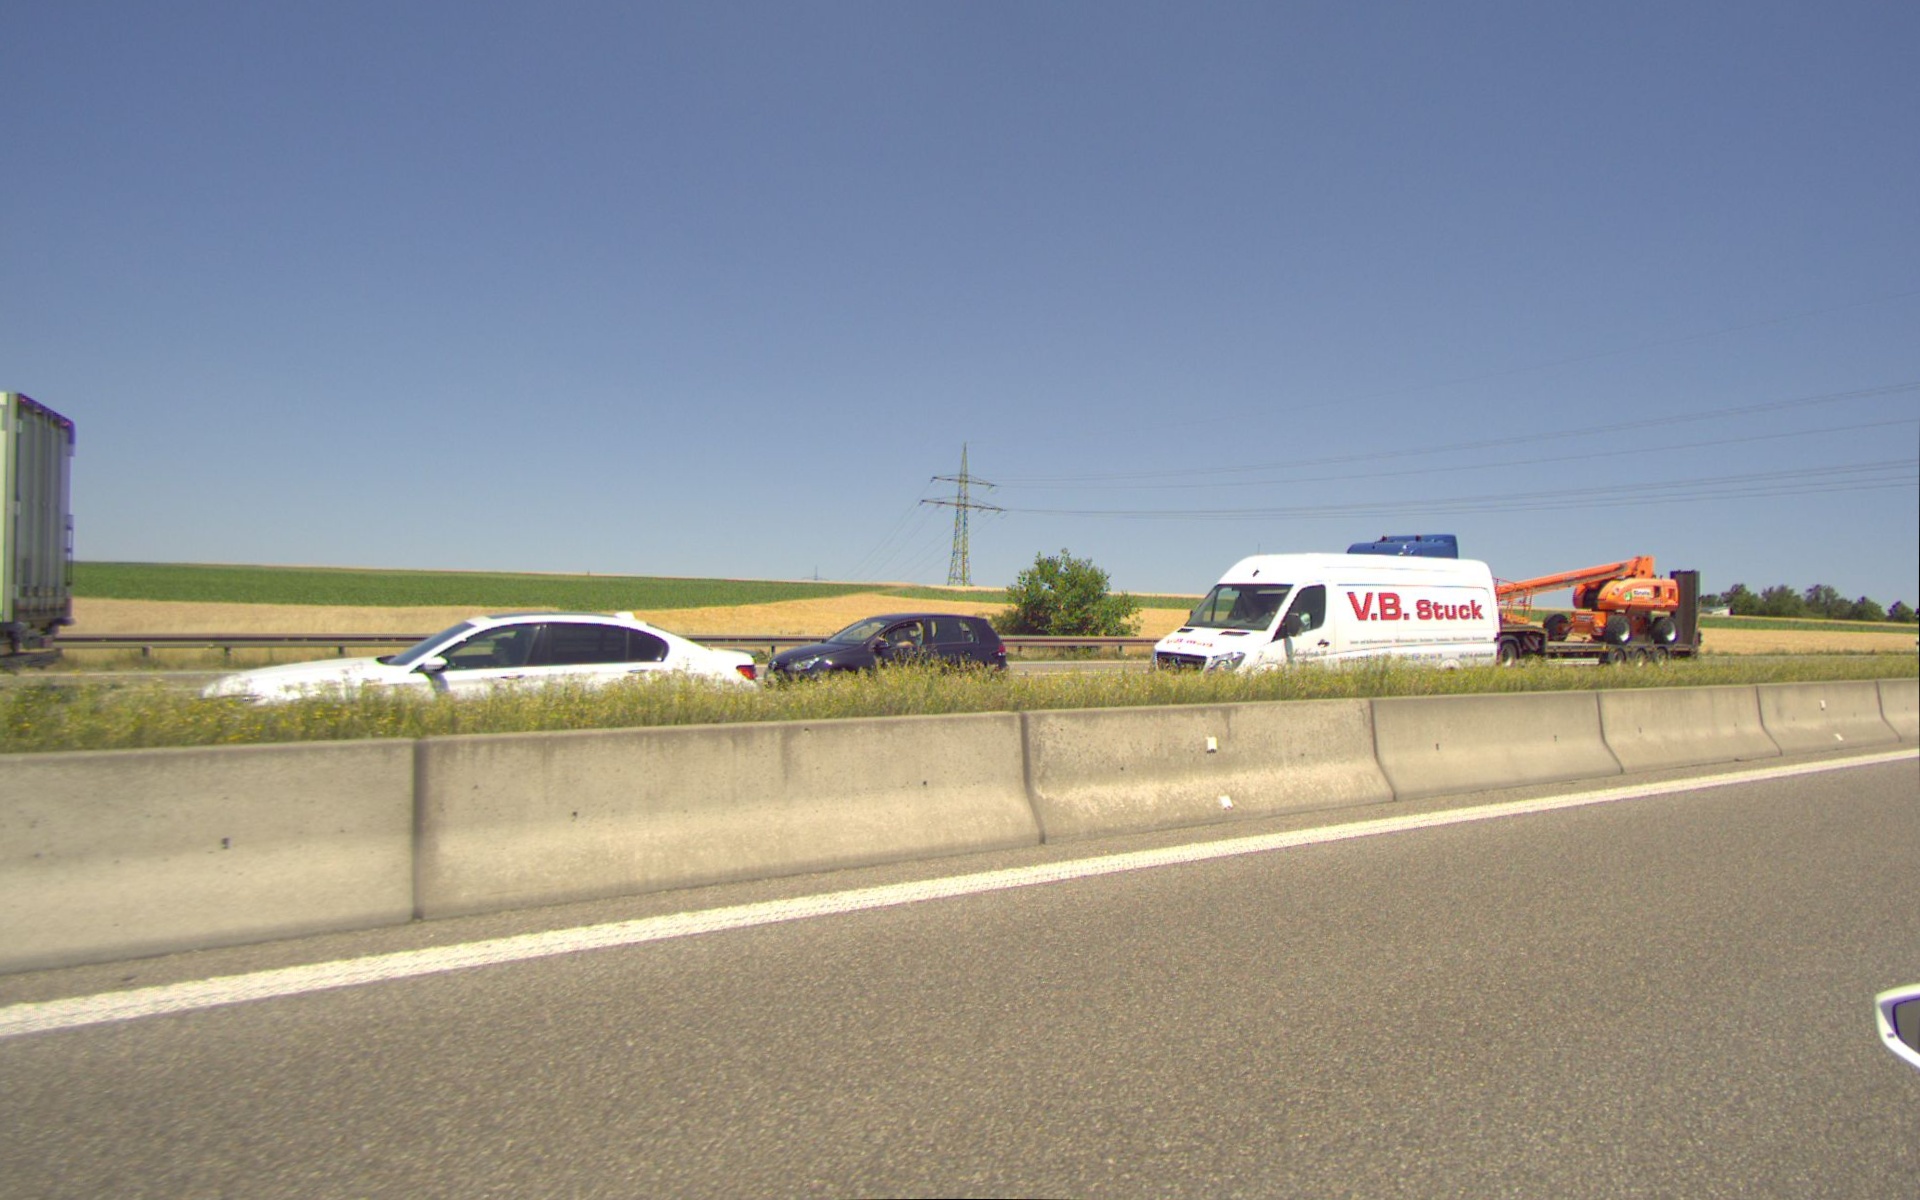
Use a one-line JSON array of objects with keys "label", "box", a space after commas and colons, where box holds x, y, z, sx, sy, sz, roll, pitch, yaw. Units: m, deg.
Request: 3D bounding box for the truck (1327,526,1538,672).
[{"label": "truck", "box": [14.184, 0.020, 30.059, 6.066, 3.990, 2.763, 1, 0, -30]}]

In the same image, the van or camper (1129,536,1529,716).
[{"label": "van or camper", "box": [6.347, 0.475, 16.727, 7.432, 2.496, 2.057, 2, -2, -31]}]

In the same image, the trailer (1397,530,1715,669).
[{"label": "trailer", "box": [20.317, 0.141, 33.667, 13.564, 4.011, 2.826, 2, 0, -30]}]

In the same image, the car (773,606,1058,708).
[{"label": "car", "box": [-0.700, 0.903, 16.845, 4.449, 1.499, 1.811, 2, 0, -30]}]

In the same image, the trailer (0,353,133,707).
[{"label": "trailer", "box": [-18.186, -1.025, 10.825, 13.865, 4.446, 3.226, 1, 0, -31]}]

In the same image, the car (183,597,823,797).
[{"label": "car", "box": [-4.408, 0.852, 10.471, 5.605, 1.608, 1.916, 2, 0, -32]}]
